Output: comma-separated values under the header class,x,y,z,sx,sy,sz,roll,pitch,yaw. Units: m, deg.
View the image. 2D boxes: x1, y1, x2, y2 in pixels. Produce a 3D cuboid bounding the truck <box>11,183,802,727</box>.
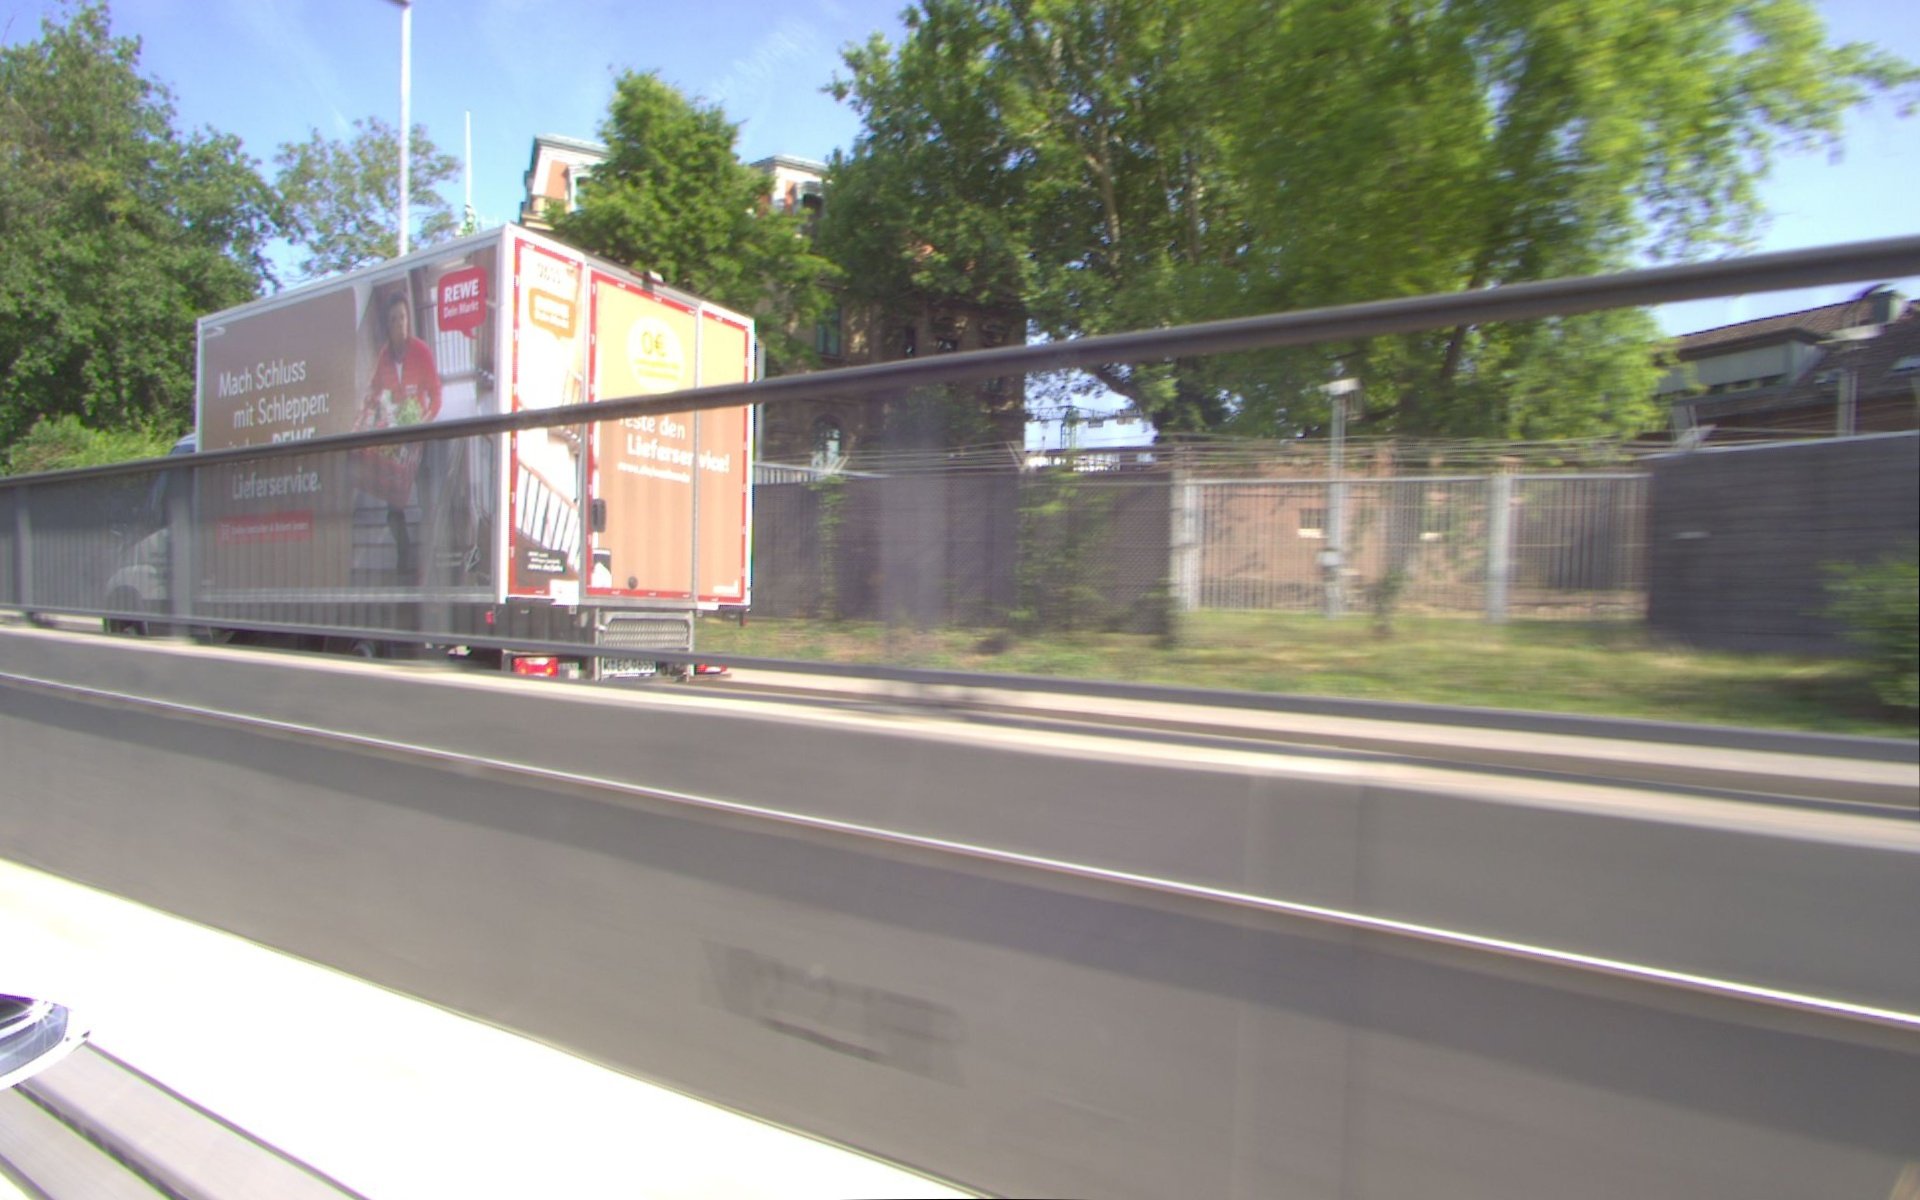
class,x,y,z,sx,sy,sz,roll,pitch,yaw
truck,-5.209,-0.827,8.773,7.704,3.099,2.499,1,-2,32
